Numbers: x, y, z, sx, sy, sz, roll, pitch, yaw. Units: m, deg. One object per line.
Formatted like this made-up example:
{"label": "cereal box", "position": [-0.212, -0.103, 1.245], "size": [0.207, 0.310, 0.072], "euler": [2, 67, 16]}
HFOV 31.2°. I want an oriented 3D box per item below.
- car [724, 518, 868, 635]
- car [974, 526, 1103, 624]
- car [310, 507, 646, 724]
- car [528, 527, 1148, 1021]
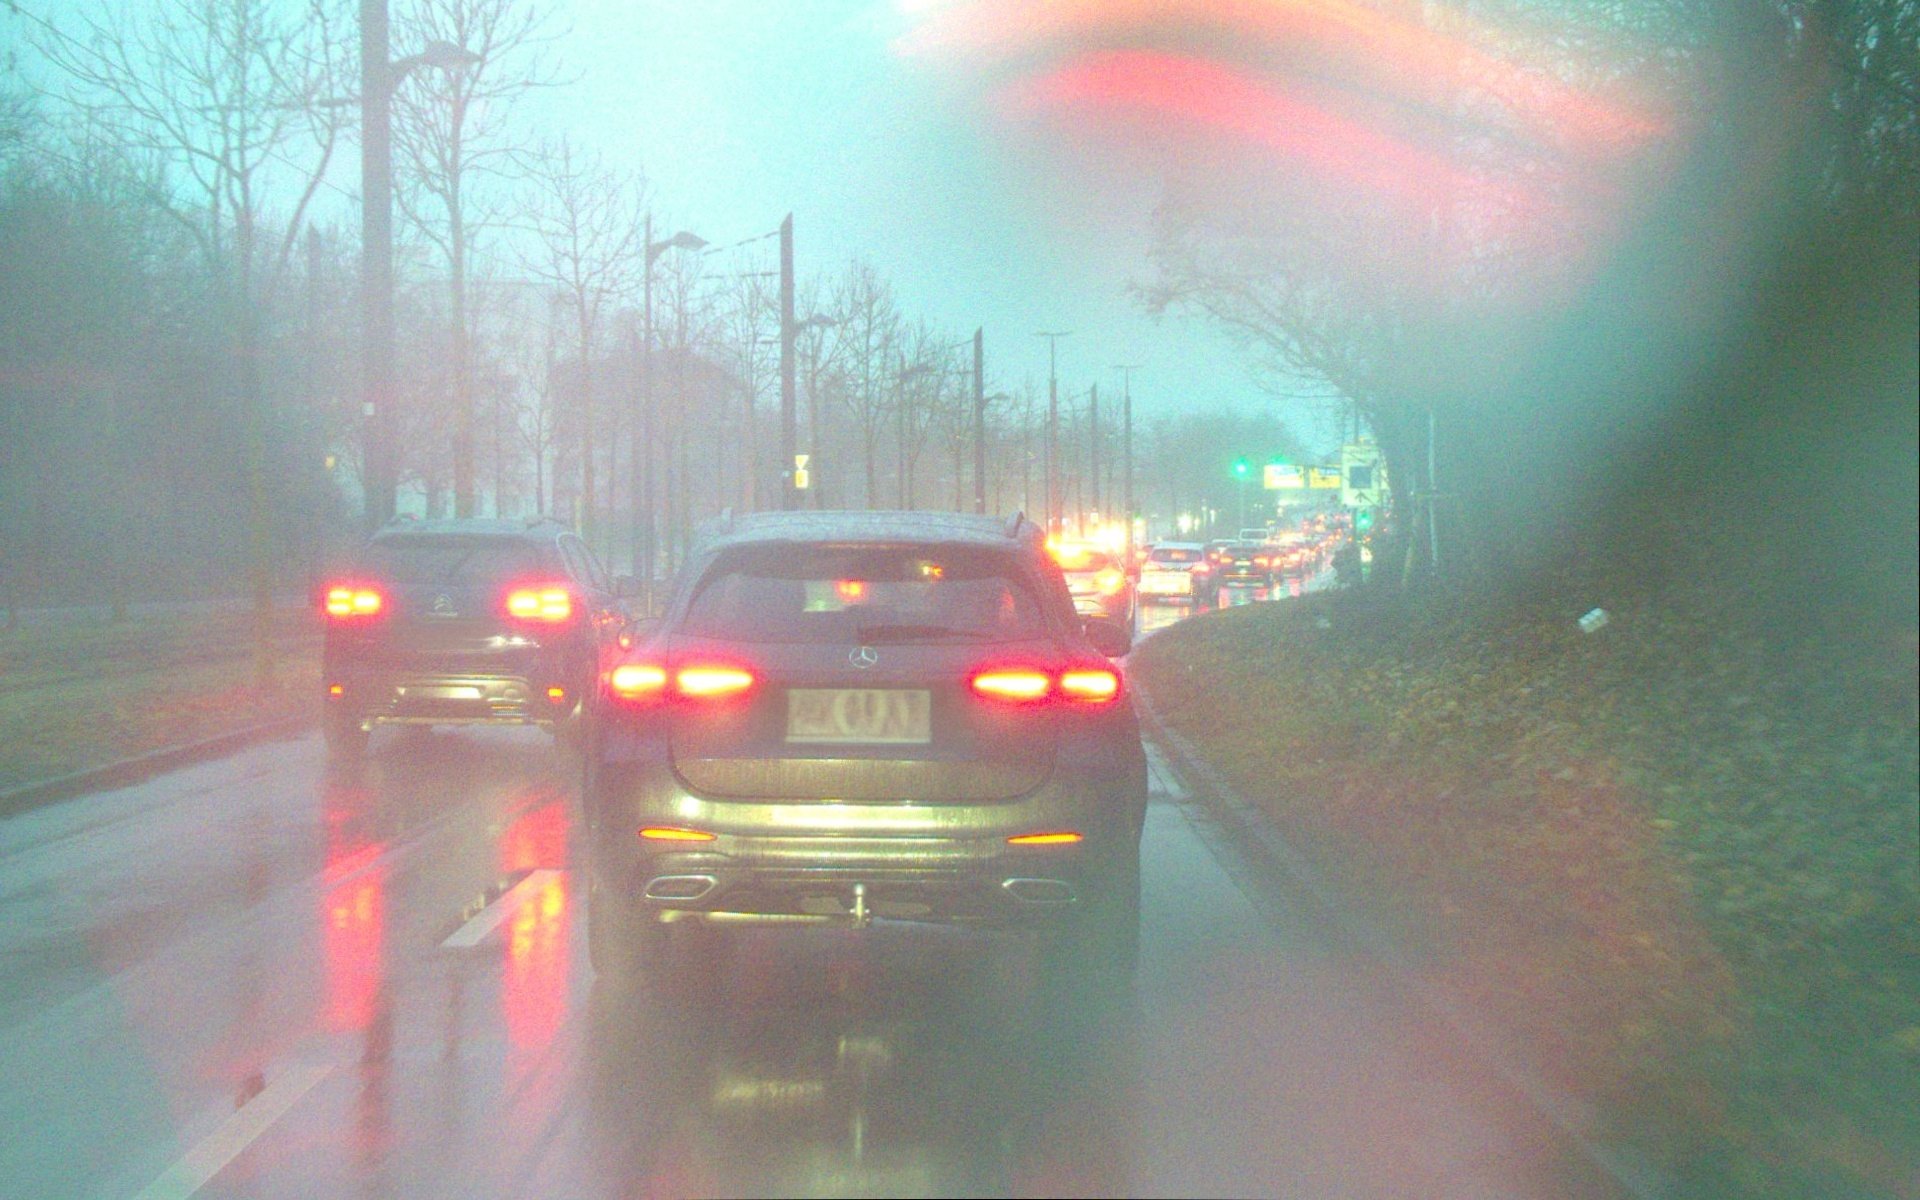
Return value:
{"label": "car", "position": [-2.303, -0.376, 49.253], "size": [1.880, 1.588, 4.000], "euler": [0, 2, 0]}
{"label": "car", "position": [1.314, -0.427, 56.054], "size": [1.709, 1.552, 3.995], "euler": [0, 1, 7]}
{"label": "car", "position": [-3.433, 0.054, 25.196], "size": [1.880, 1.454, 4.000], "euler": [0, 2, 0]}
{"label": "car", "position": [-0.429, 0.523, 13.145], "size": [1.998, 1.578, 4.000], "euler": [0, 1, -1]}
